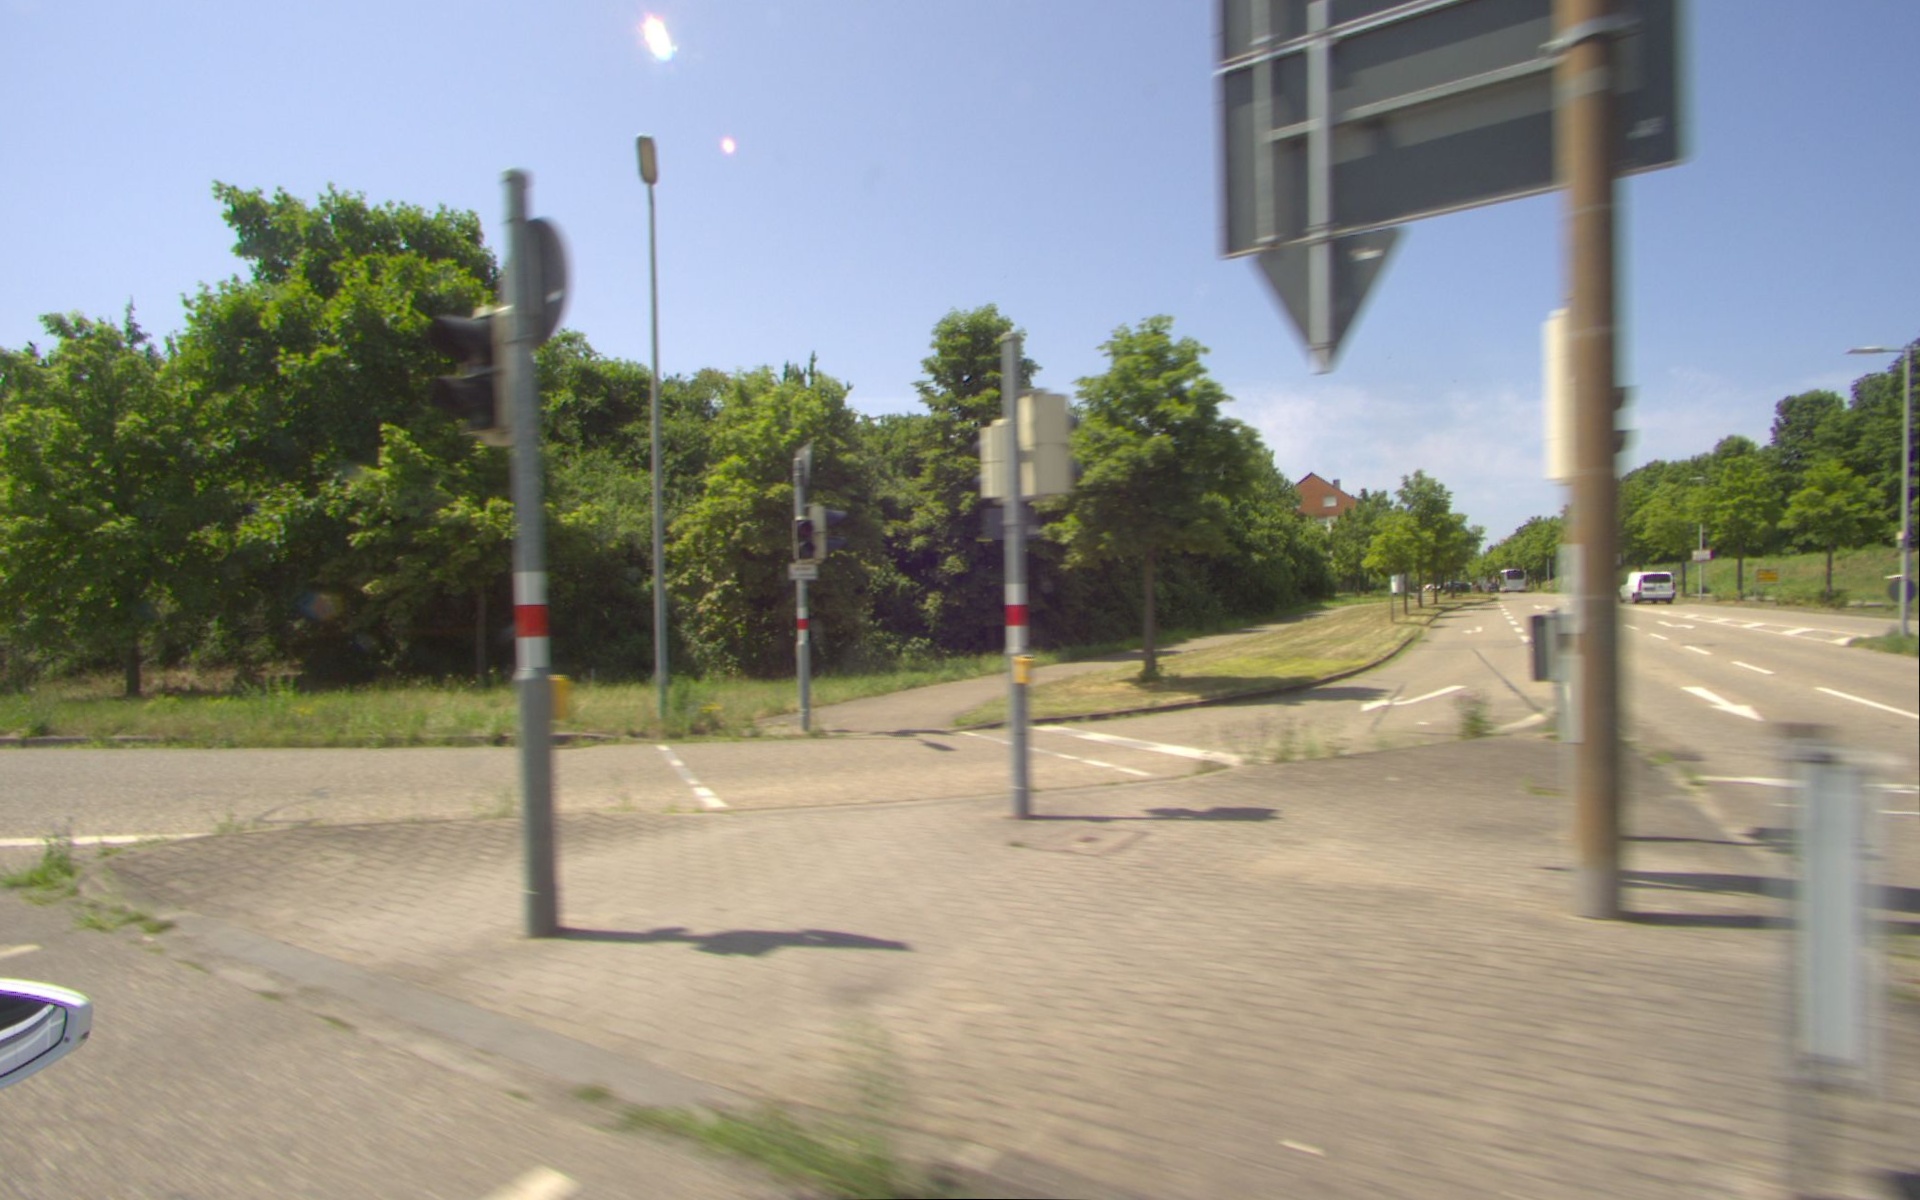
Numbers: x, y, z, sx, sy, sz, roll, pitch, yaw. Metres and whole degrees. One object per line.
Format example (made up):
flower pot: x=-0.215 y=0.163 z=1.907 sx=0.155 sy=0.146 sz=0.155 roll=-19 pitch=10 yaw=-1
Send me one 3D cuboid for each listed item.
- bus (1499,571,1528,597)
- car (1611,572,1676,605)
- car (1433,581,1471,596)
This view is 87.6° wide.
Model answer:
bus: x=73.198 y=-2.078 z=132.621 sx=2.589 sy=3.127 sz=12.039 roll=0 pitch=-1 yaw=26
car: x=40.088 y=-0.699 z=58.866 sx=1.833 sy=1.843 sz=4.897 roll=0 pitch=2 yaw=19
car: x=56.669 y=-1.330 z=115.265 sx=3.772 sy=1.571 sz=1.656 roll=-2 pitch=-3 yaw=31
